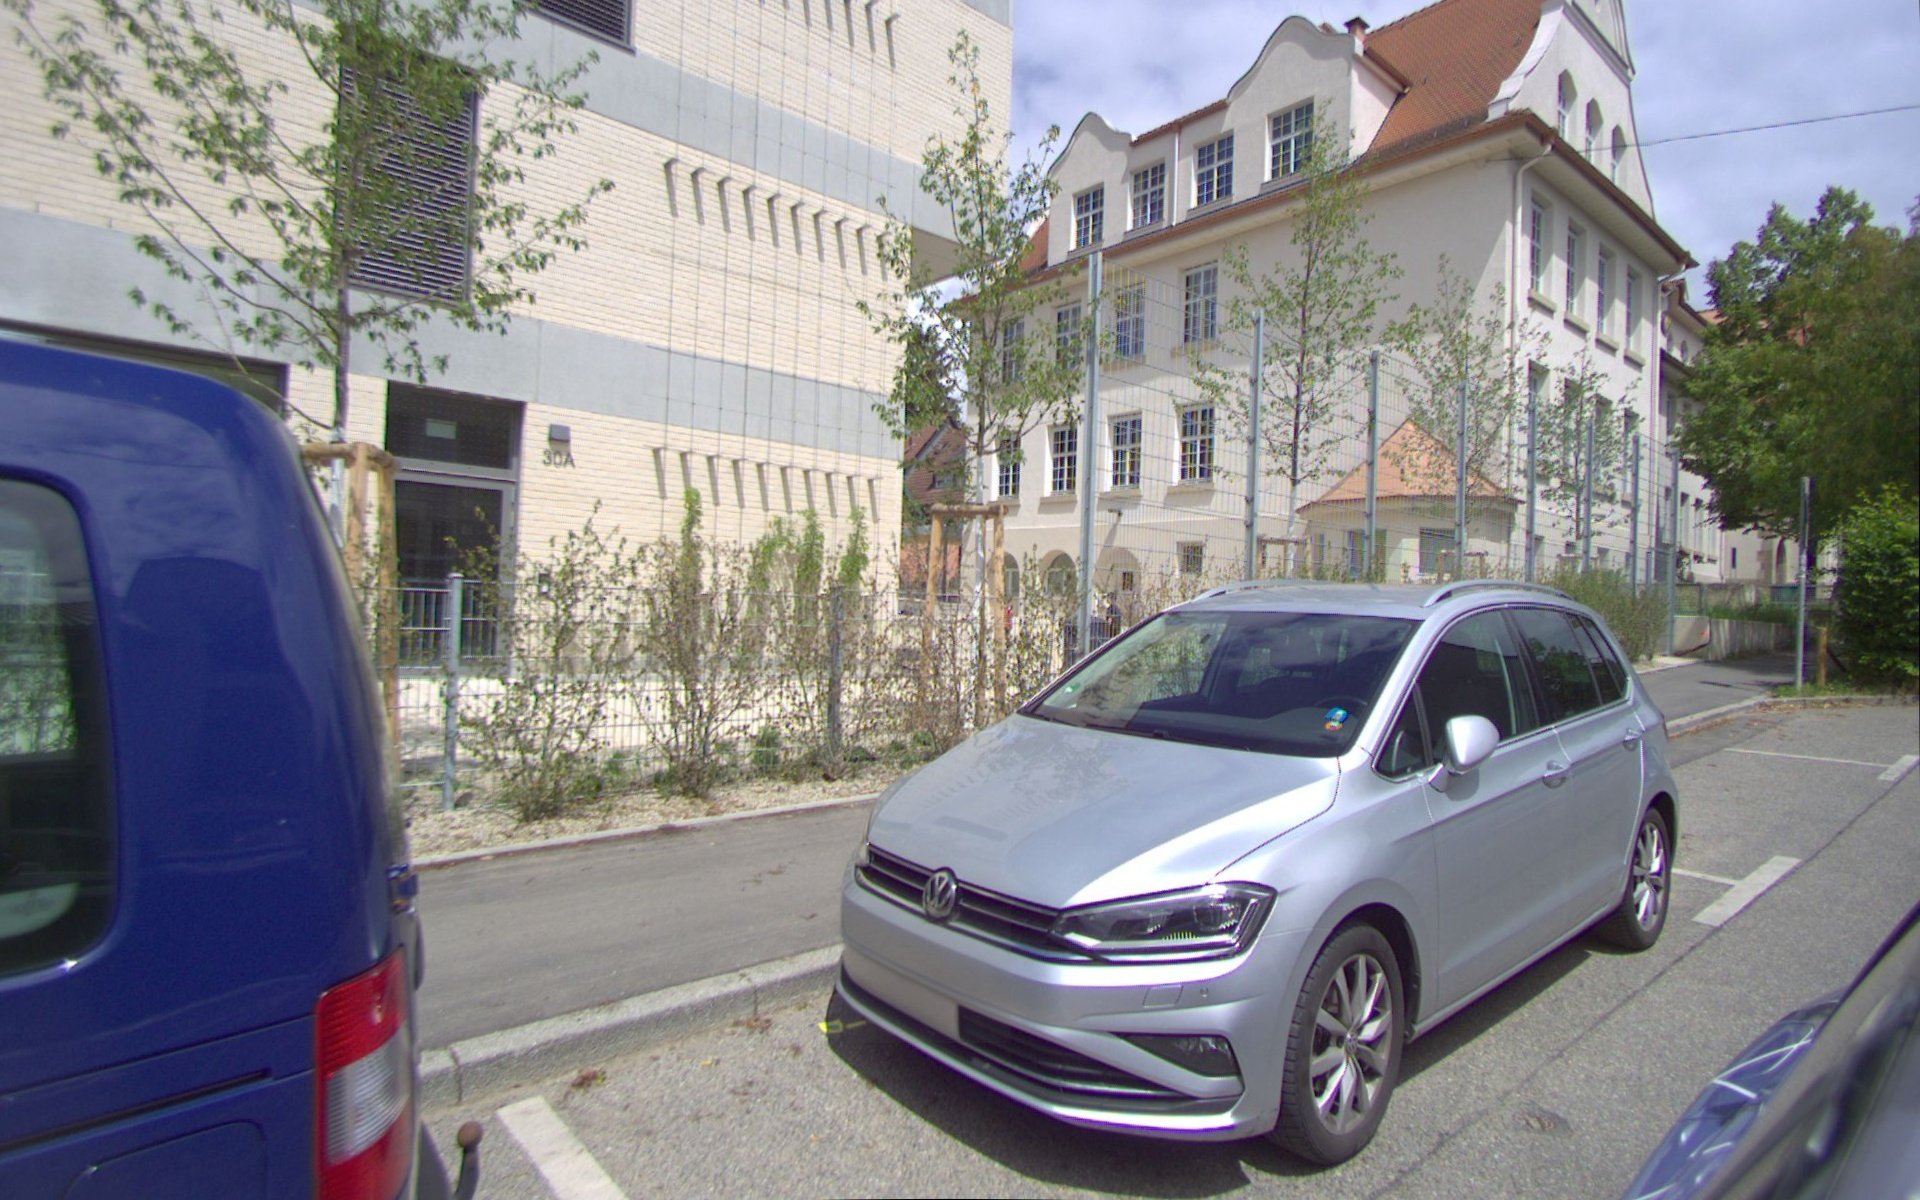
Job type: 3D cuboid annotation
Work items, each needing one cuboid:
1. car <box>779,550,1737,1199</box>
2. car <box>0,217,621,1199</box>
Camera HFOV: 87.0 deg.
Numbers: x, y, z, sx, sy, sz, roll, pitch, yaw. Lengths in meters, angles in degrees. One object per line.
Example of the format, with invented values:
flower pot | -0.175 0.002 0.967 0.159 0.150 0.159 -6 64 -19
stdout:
car | 1.573 0.642 4.196 4.288 1.528 1.789 0 0 -41
car | -2.649 0.596 0.389 4.436 1.790 1.847 0 0 -41
